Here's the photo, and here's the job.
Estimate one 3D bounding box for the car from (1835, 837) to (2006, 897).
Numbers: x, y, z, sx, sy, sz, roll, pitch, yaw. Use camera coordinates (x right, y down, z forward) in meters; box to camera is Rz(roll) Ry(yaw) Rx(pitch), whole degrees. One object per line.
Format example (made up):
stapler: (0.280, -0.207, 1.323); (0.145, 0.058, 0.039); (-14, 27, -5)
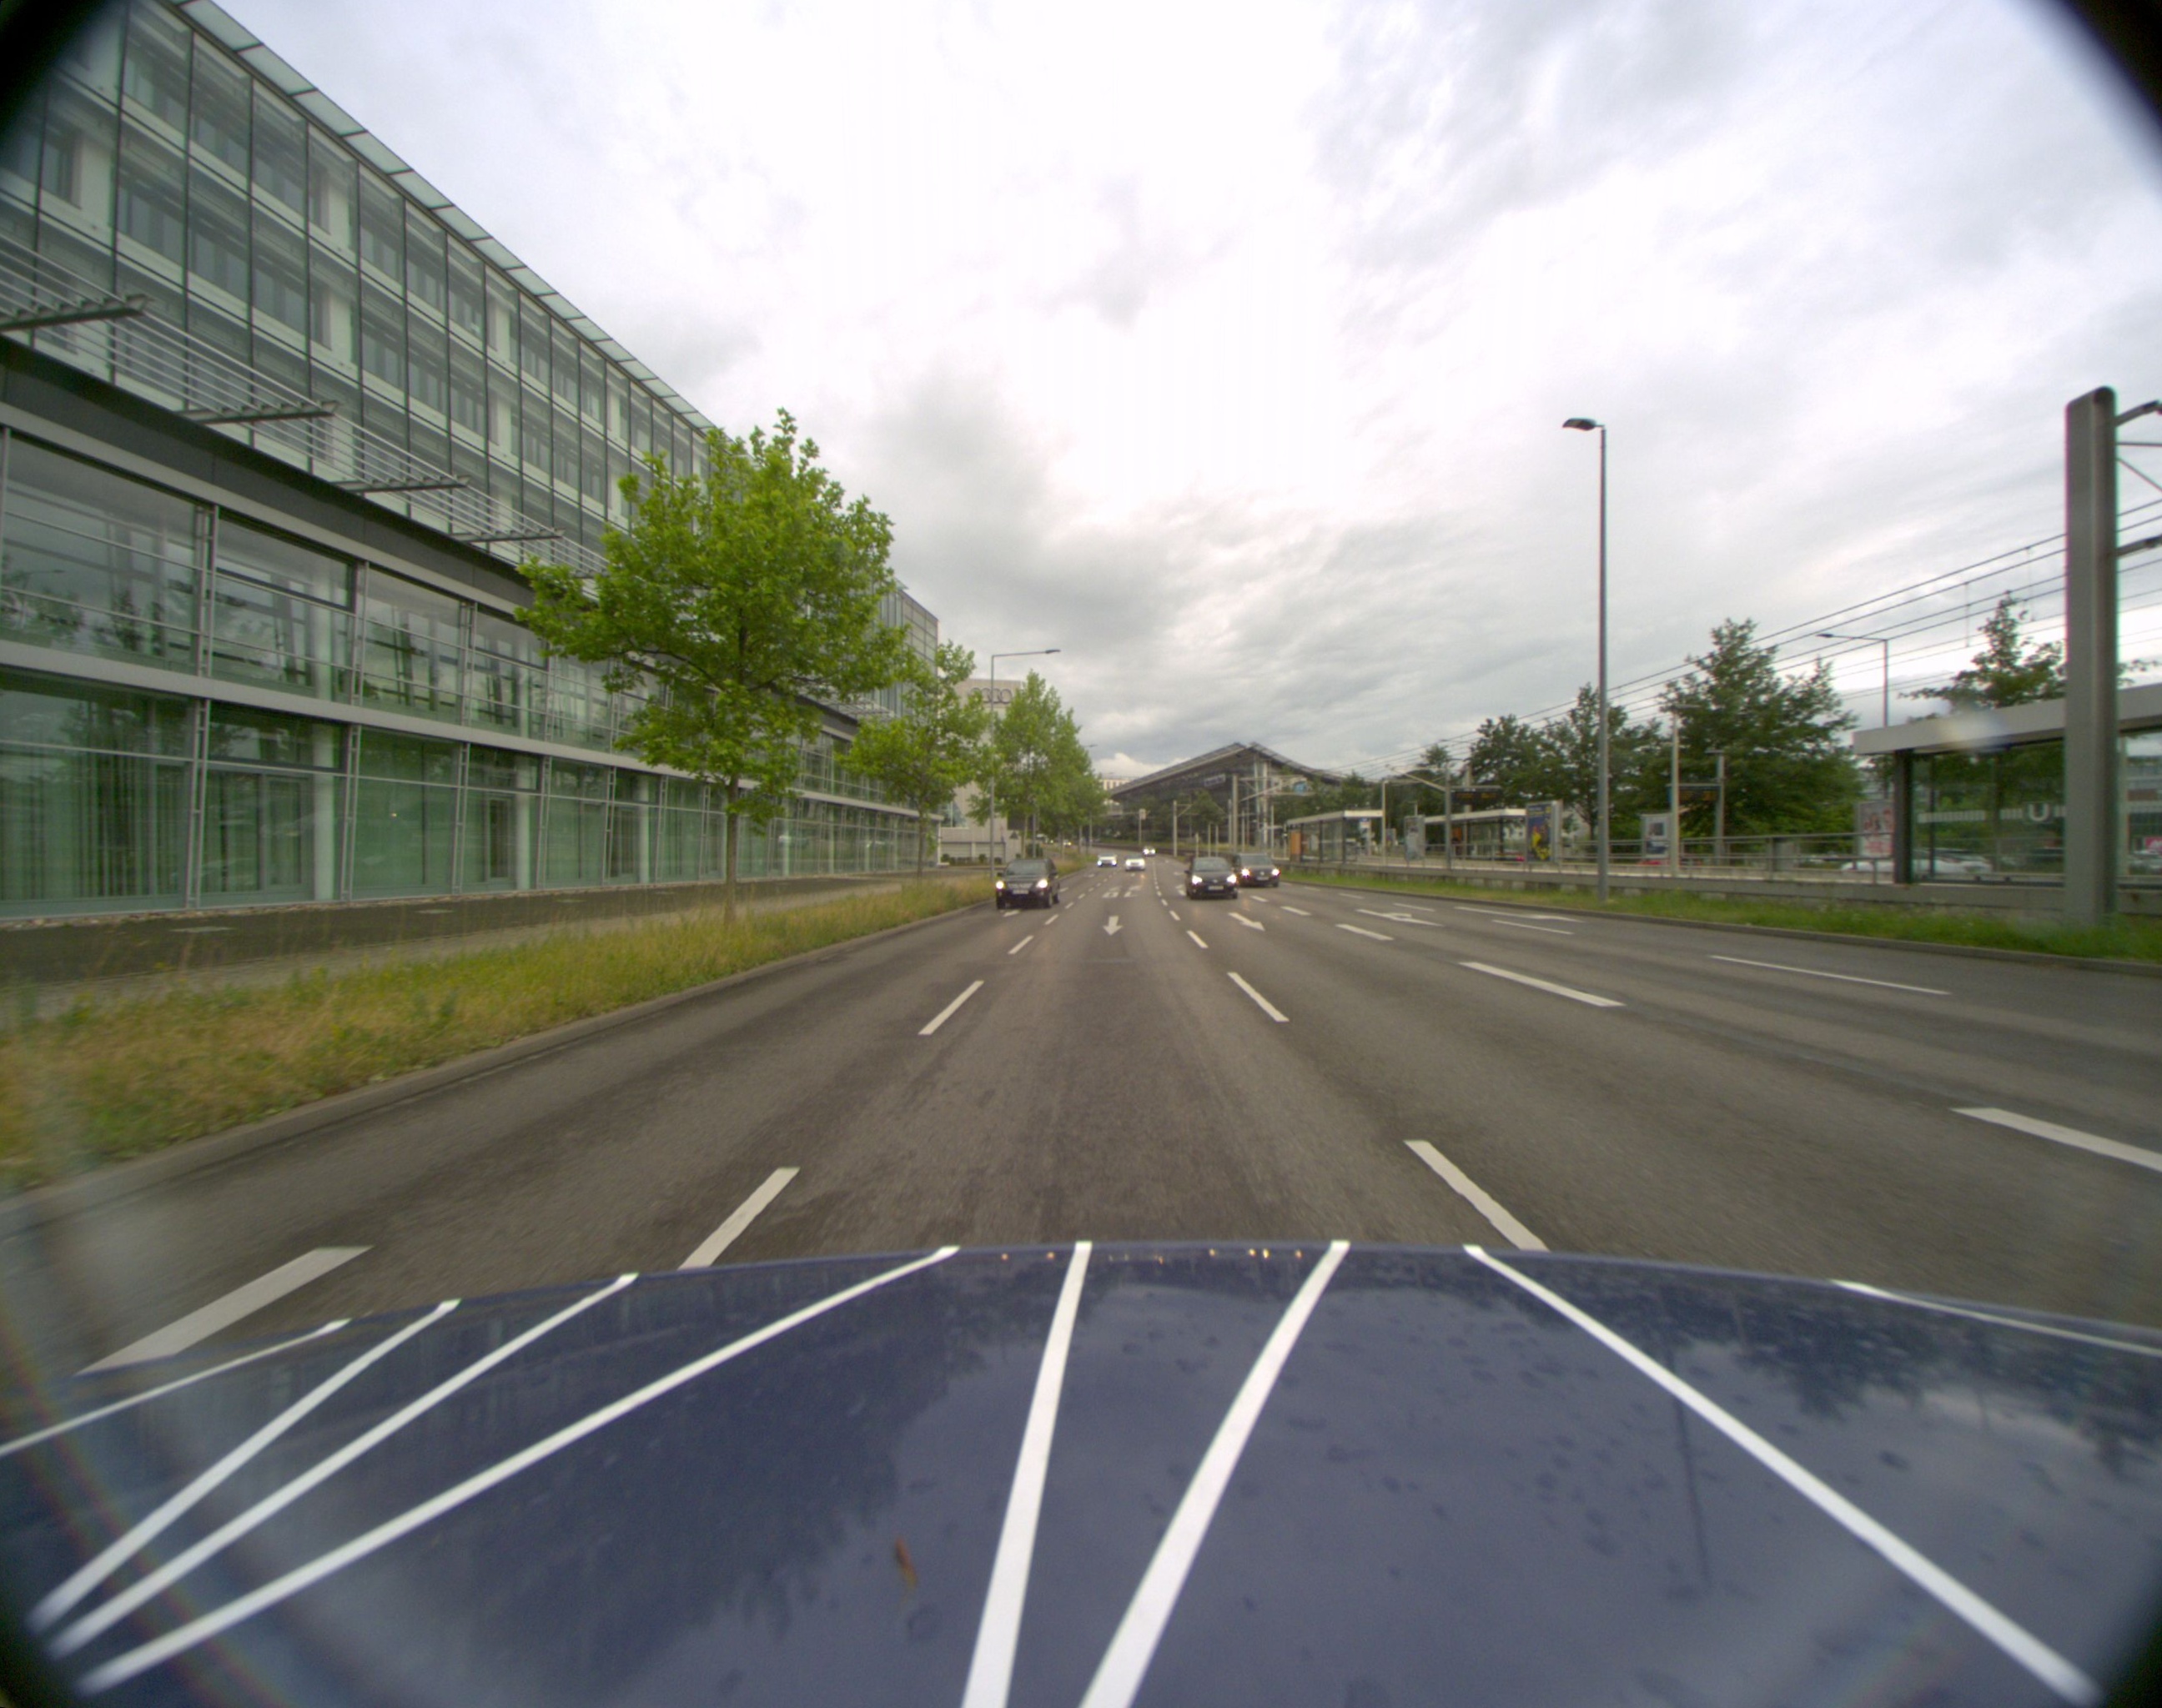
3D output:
car: (31.232, 0.409, 28.464); (1.999, 2.002, 3.999); (-3, 1, 0)

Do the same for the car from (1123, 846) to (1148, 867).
car: (4.760, 0.186, 66.714); (1.805, 1.713, 3.999); (-3, 1, 0)

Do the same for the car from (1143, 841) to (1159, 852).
car: (10.311, -1.100, 112.235); (1.740, 1.469, 3.998); (-2, 0, -3)

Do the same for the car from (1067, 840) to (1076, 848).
car: (-2.171, -2.213, 174.839); (1.829, 1.701, 4.152); (-3, 1, -3)

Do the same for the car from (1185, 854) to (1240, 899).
car: (4.798, 0.783, 28.188); (1.696, 1.514, 3.906); (-2, 0, 6)

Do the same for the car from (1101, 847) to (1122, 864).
car: (3.171, 0.144, 78.784); (1.998, 1.669, 3.821); (-1, 1, 0)

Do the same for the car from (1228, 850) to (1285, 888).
car: (8.310, 0.660, 36.350); (1.731, 1.583, 4.192); (-3, 1, 0)

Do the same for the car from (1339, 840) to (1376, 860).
car: (26.928, -0.422, 74.066); (1.999, 1.837, 3.998); (-3, 1, -2)

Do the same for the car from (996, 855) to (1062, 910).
car: (-1.688, 0.915, 26.096); (1.770, 1.620, 4.325); (-3, 0, 2)
